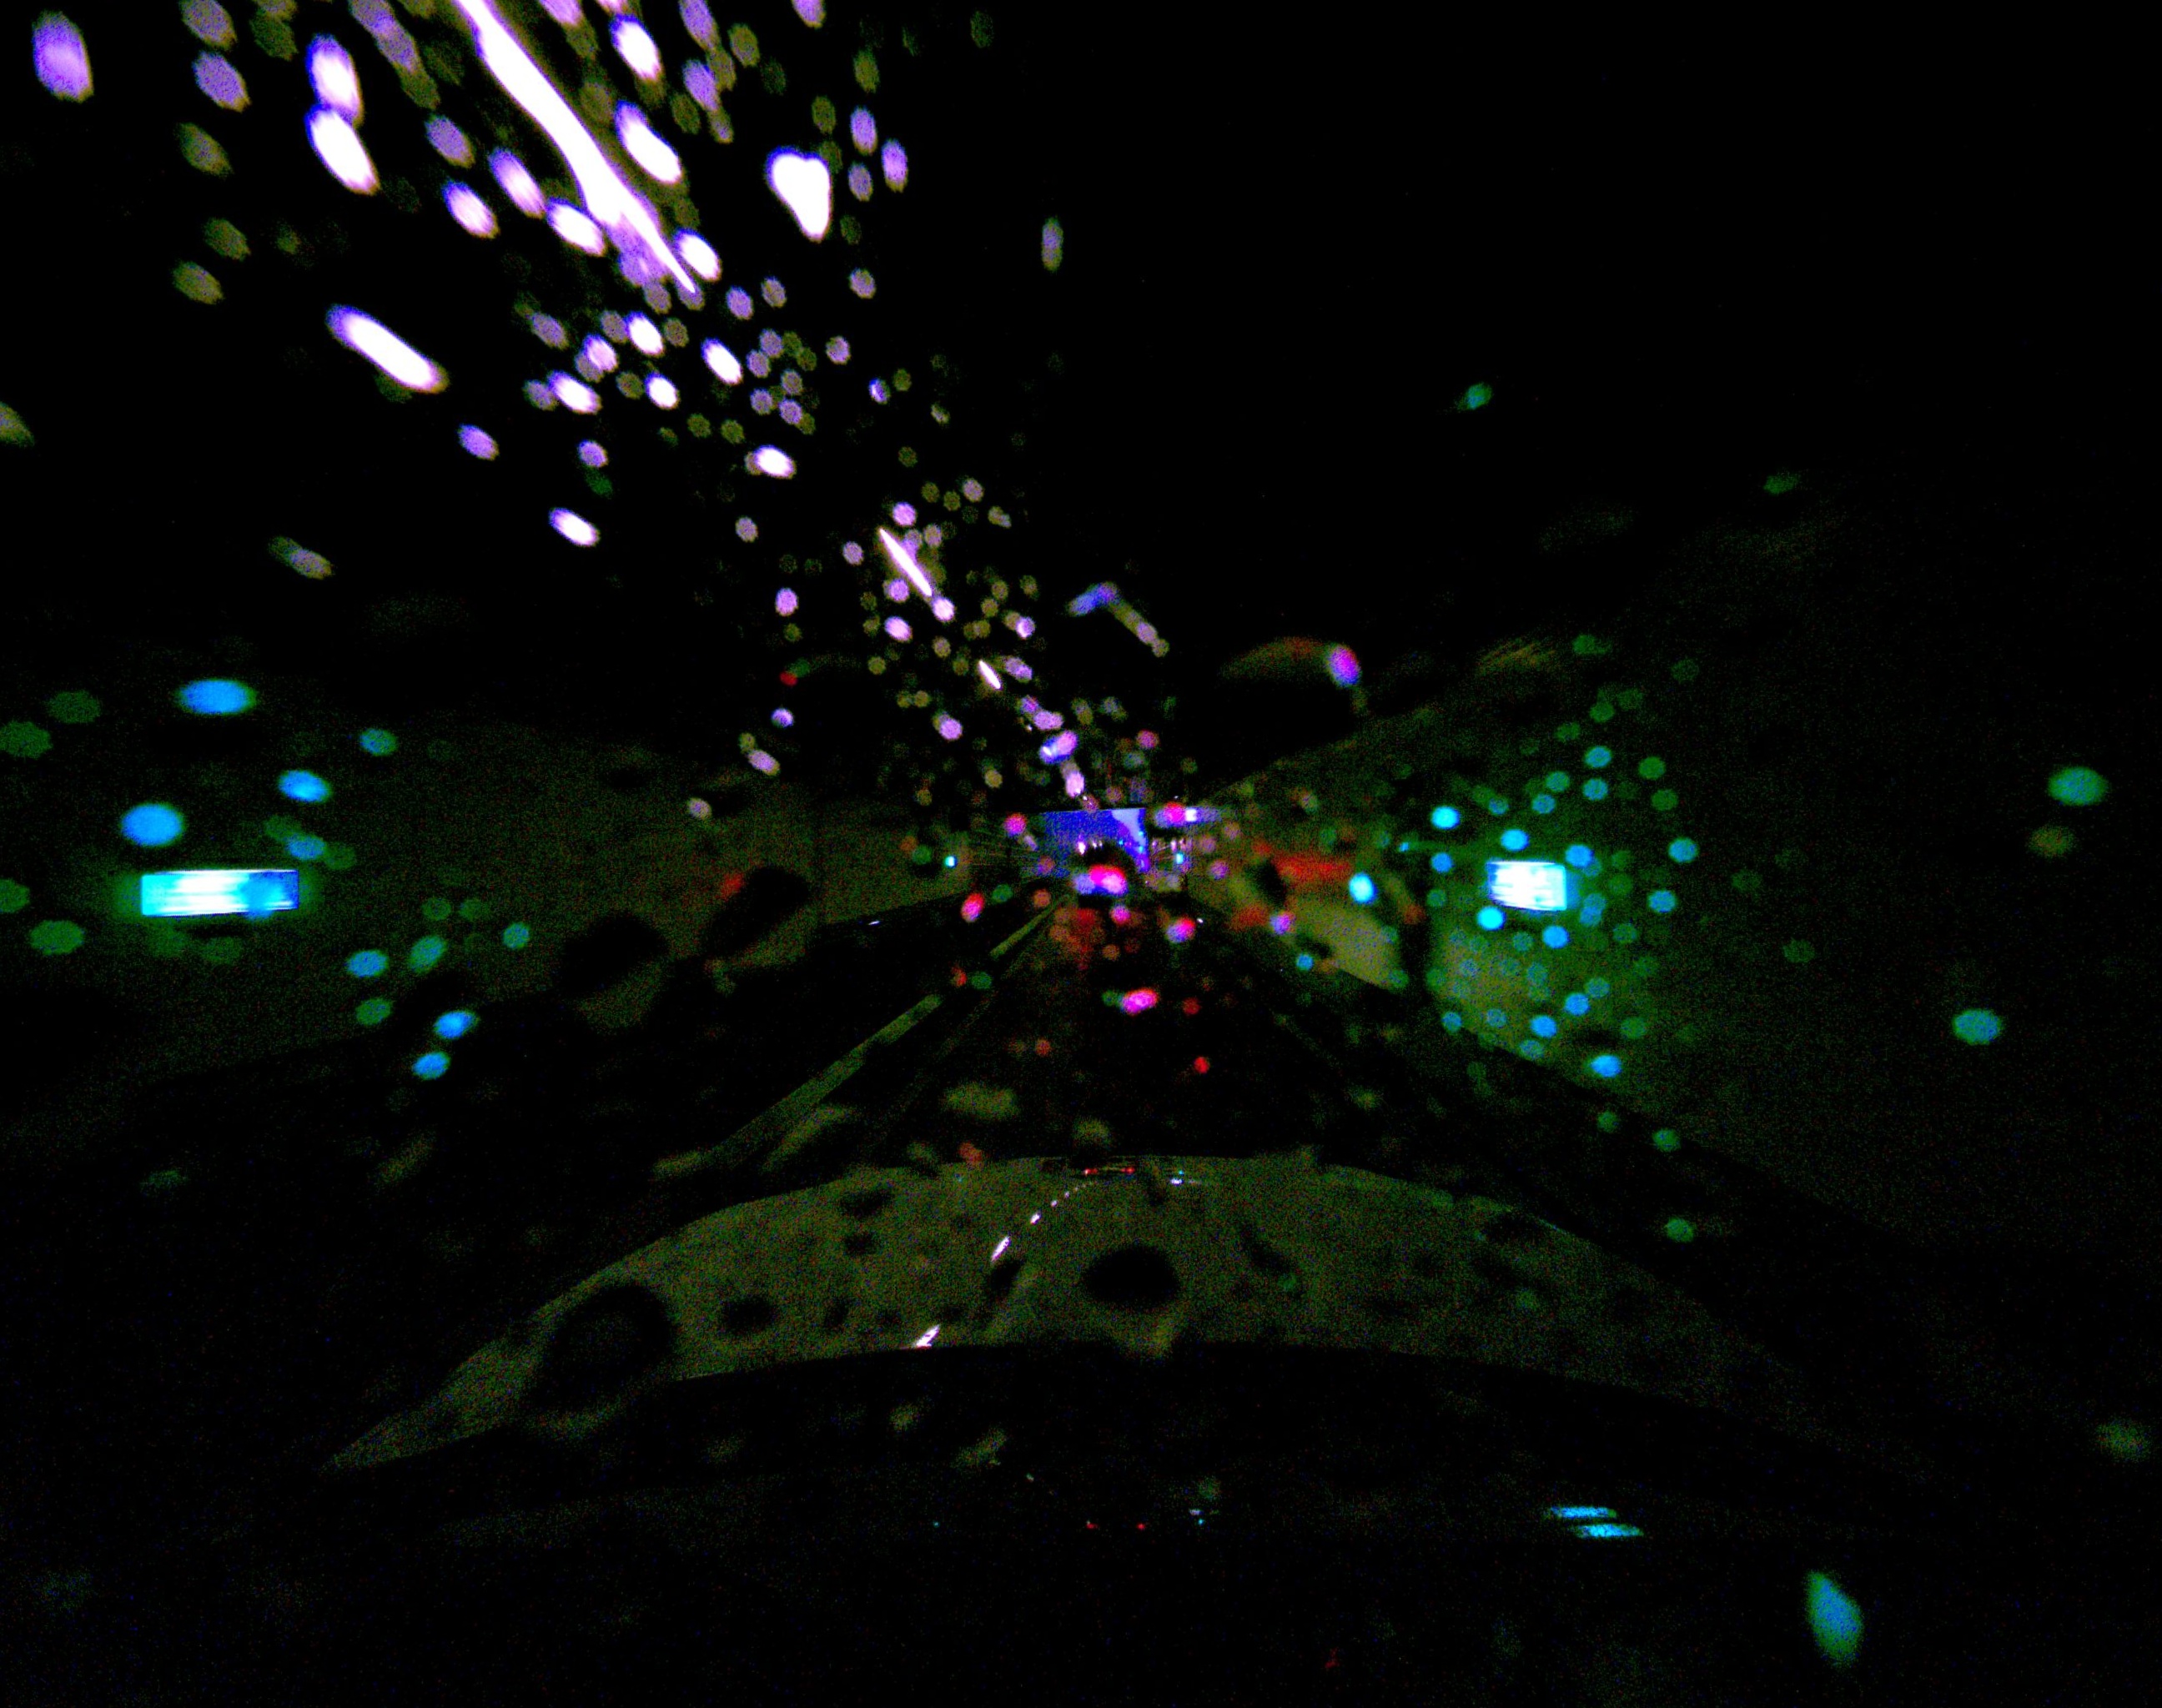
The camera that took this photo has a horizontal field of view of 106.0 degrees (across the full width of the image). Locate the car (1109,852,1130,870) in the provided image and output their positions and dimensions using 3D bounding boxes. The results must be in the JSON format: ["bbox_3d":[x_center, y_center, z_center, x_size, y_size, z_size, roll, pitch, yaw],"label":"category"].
[{"bbox_3d":[3.551,0.671,74.714,1.873,1.621,4.002,-1,-1,2],"label":"car"}]

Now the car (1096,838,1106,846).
[{"bbox_3d":[4.582,-2.683,184.389,1.871,1.621,4.005,-1,-1,5],"label":"car"}]

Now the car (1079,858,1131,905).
[{"bbox_3d":[0.778,0.834,26.467,1.526,1.397,3.435,-1,0,2],"label":"car"}]
